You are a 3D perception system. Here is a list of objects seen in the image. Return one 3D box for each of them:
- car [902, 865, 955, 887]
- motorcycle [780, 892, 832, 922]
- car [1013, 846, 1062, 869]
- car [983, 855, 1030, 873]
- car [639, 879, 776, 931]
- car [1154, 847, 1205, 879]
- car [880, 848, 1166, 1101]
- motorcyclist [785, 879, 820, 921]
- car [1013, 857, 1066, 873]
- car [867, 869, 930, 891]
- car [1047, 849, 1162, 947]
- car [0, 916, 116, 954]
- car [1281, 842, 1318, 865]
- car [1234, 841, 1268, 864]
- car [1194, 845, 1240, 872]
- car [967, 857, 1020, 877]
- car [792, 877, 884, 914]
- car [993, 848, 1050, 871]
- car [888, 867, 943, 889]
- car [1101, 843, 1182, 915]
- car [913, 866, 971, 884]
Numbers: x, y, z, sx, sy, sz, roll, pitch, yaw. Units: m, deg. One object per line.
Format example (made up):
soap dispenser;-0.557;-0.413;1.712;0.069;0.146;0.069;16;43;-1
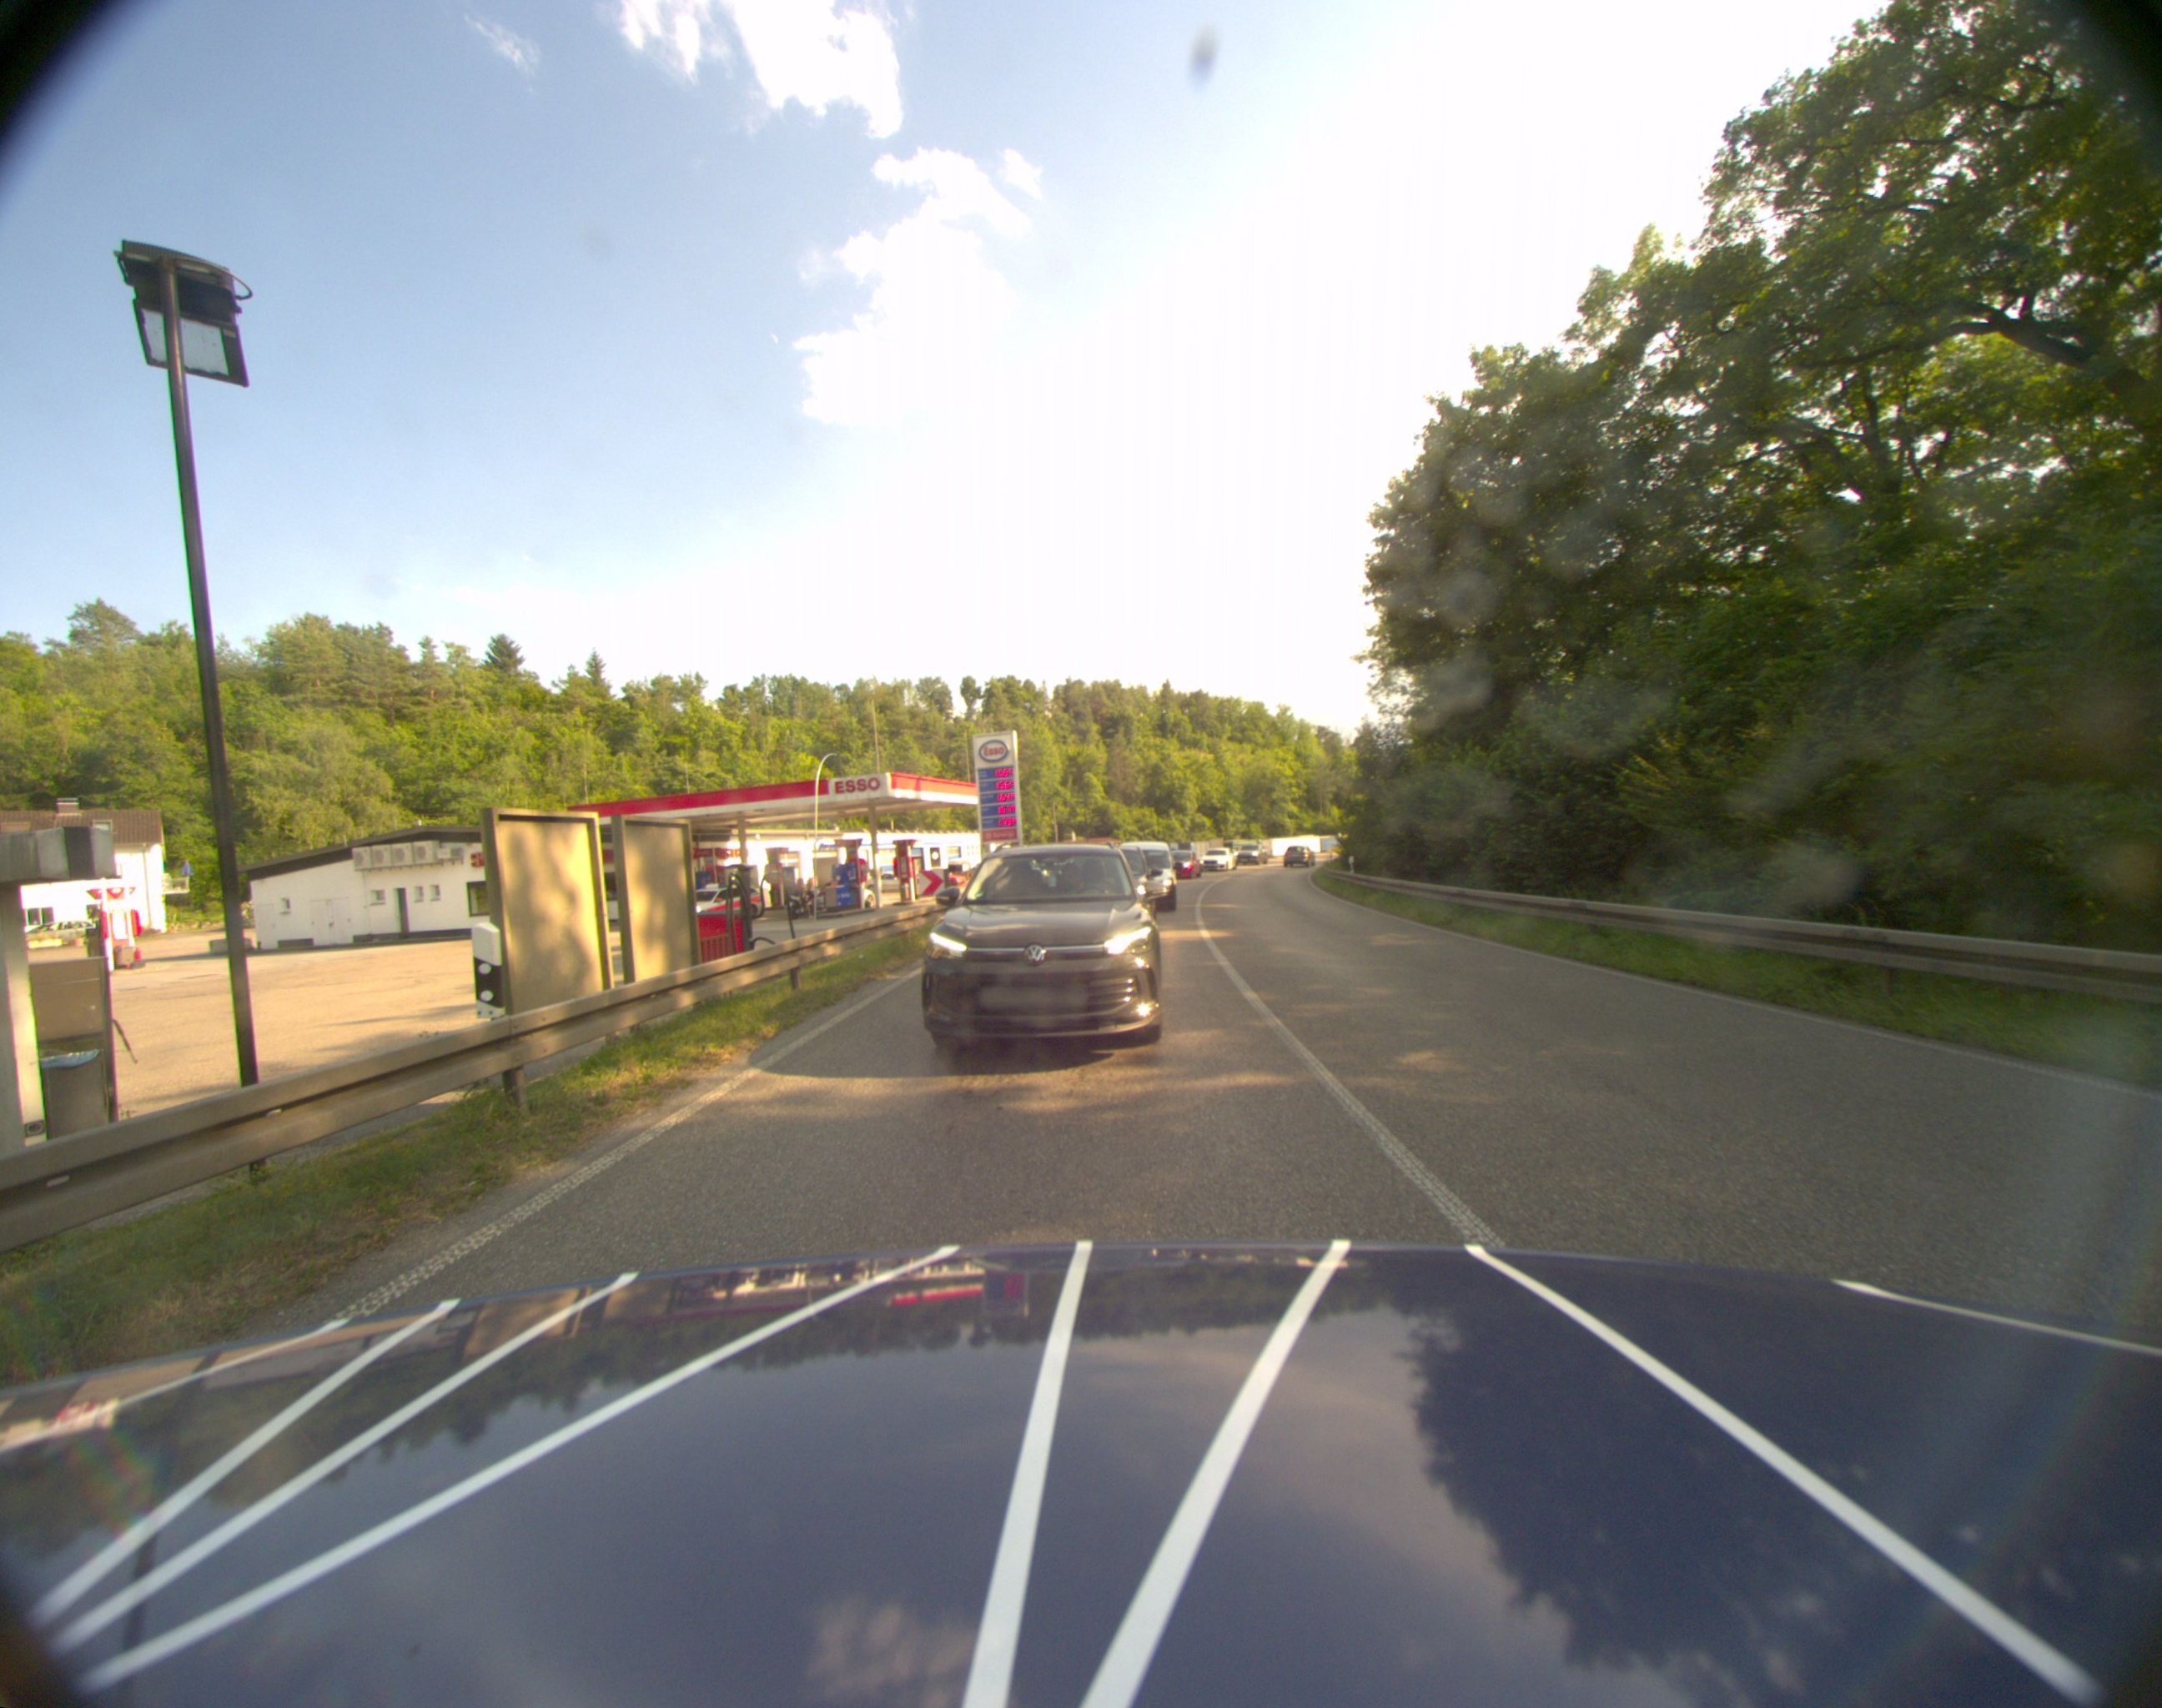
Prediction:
car;-11.716;1.661;58.478;3.549;1.437;1.735;-3;1;15
motorcycle;-11.265;2.148;31.187;0.763;1.006;2.343;-3;1;14
car;-4.842;0.380;84.622;4.915;2.435;2.209;-2;1;13
car;-7.522;0.985;76.458;4.246;1.601;1.896;-2;1;15
car;-15.079;2.013;31.077;2.095;1.618;5.185;-3;0;14
car;5.150;0.420;39.201;1.857;1.412;4.423;-2;1;16
car;-0.227;0.799;7.280;1.859;1.630;4.442;-2;0;4
motorcyclist;-11.350;1.849;30.950;0.859;1.595;0.928;-3;1;14
car;-3.984;1.066;73.508;4.727;1.426;1.959;-1;1;13
car;-12.909;1.839;53.832;3.963;1.347;1.778;-2;1;11
car;0.610;0.727;14.903;1.847;1.561;4.259;-2;1;7
car;-65.103;5.084;47.841;2.694;1.826;5.175;-4;0;41
car;15.910;-0.028;55.185;1.869;1.555;4.007;-2;-1;26
car;13.463;-0.126;60.087;1.857;1.587;4.543;-4;1;22
car;8.915;0.245;49.504;1.913;1.457;4.543;-4;1;22
car;-7.765;1.168;67.767;4.254;1.719;1.893;-1;1;12
car;-10.988;1.862;34.727;1.845;1.311;4.394;-3;0;15
car;-6.308;0.553;81.062;5.481;2.261;2.297;-1;1;15
car;-12.272;1.787;56.321;3.555;1.398;1.692;-3;1;15
car;1.768;0.594;20.731;1.866;1.710;4.766;-1;0;8
car;-11.056;1.658;60.508;4.072;1.340;1.896;-1;1;15
